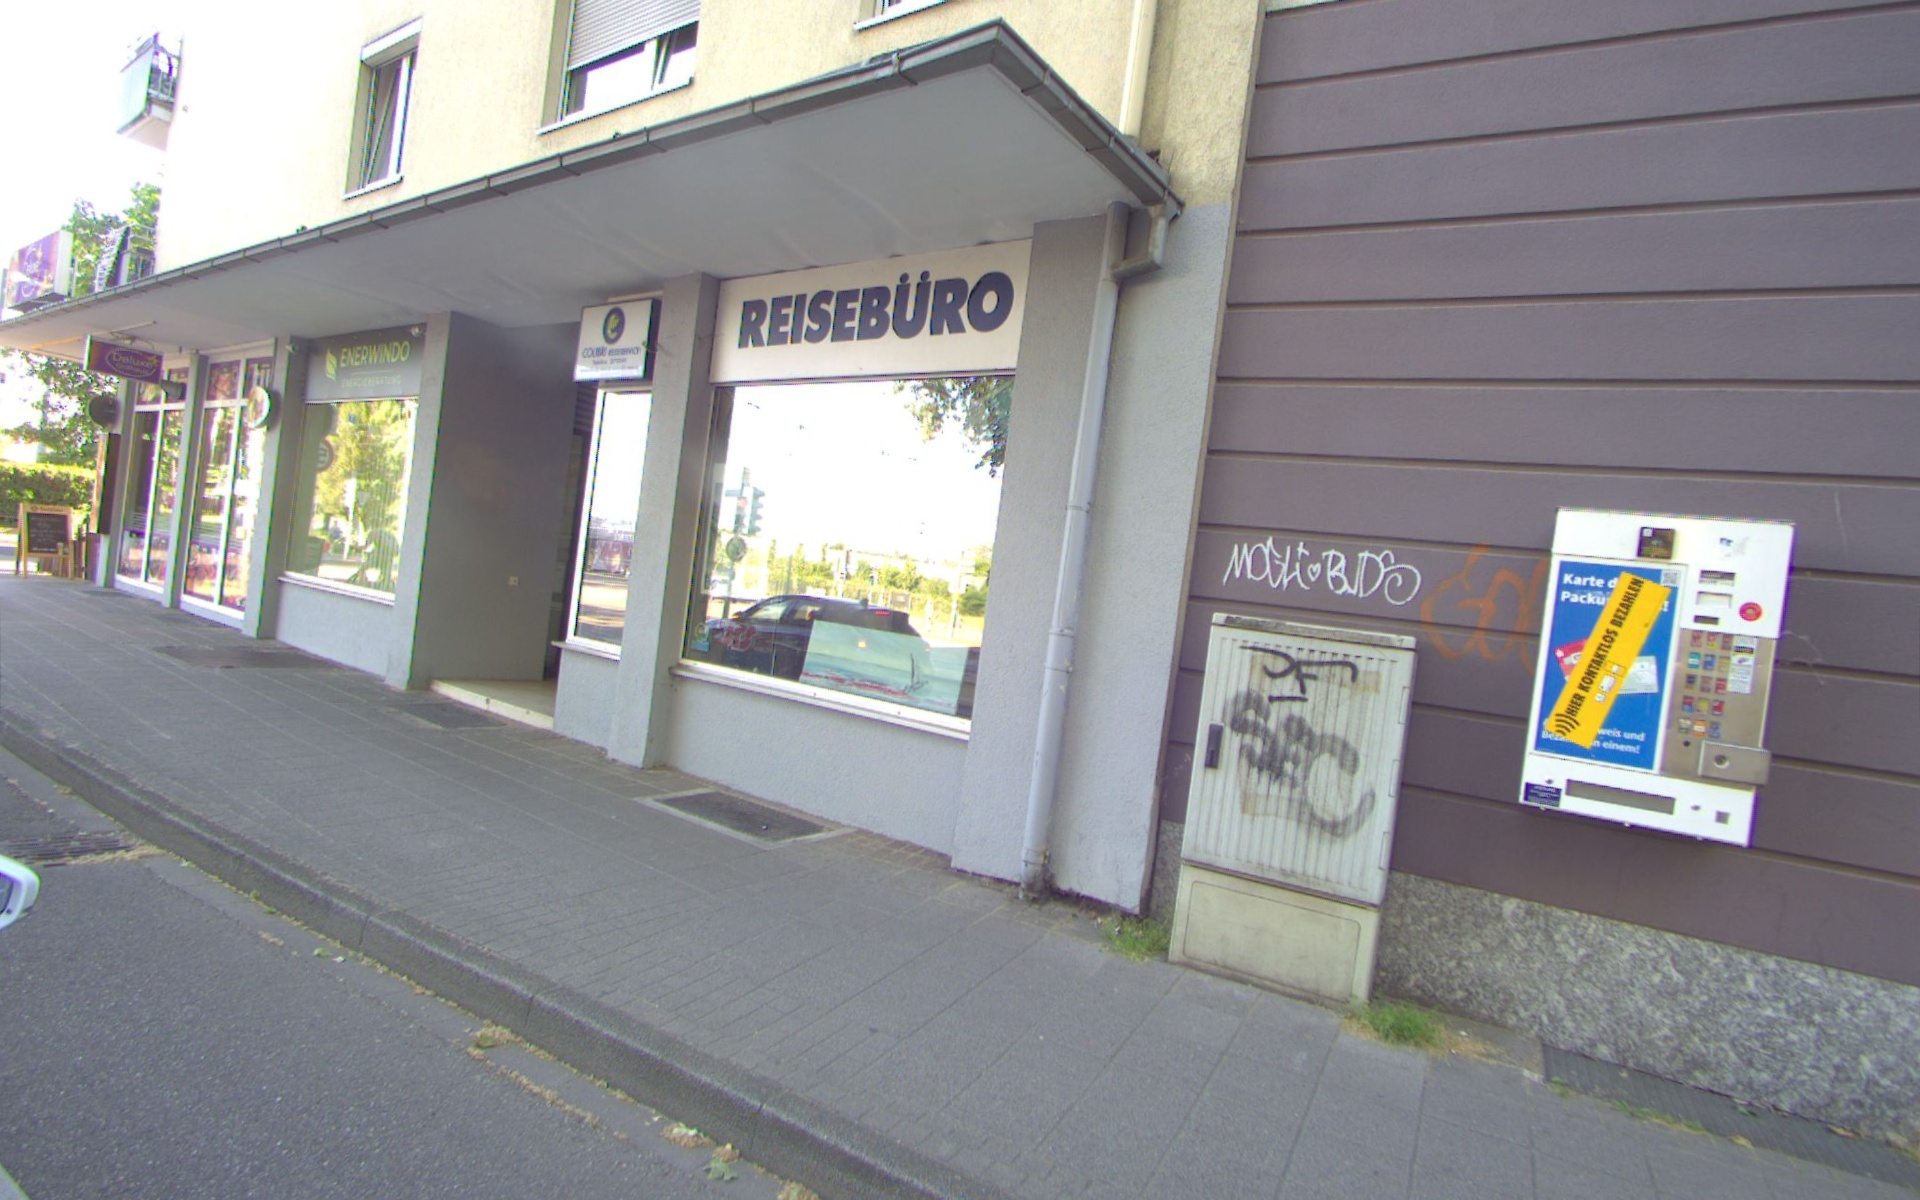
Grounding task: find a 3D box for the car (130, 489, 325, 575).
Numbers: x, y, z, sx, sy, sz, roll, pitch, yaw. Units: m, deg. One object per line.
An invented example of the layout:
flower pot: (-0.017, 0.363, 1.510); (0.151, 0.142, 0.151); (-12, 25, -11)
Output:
car: (-21.080, -1.896, 29.091); (1.781, 1.835, 4.172); (4, -3, 40)
